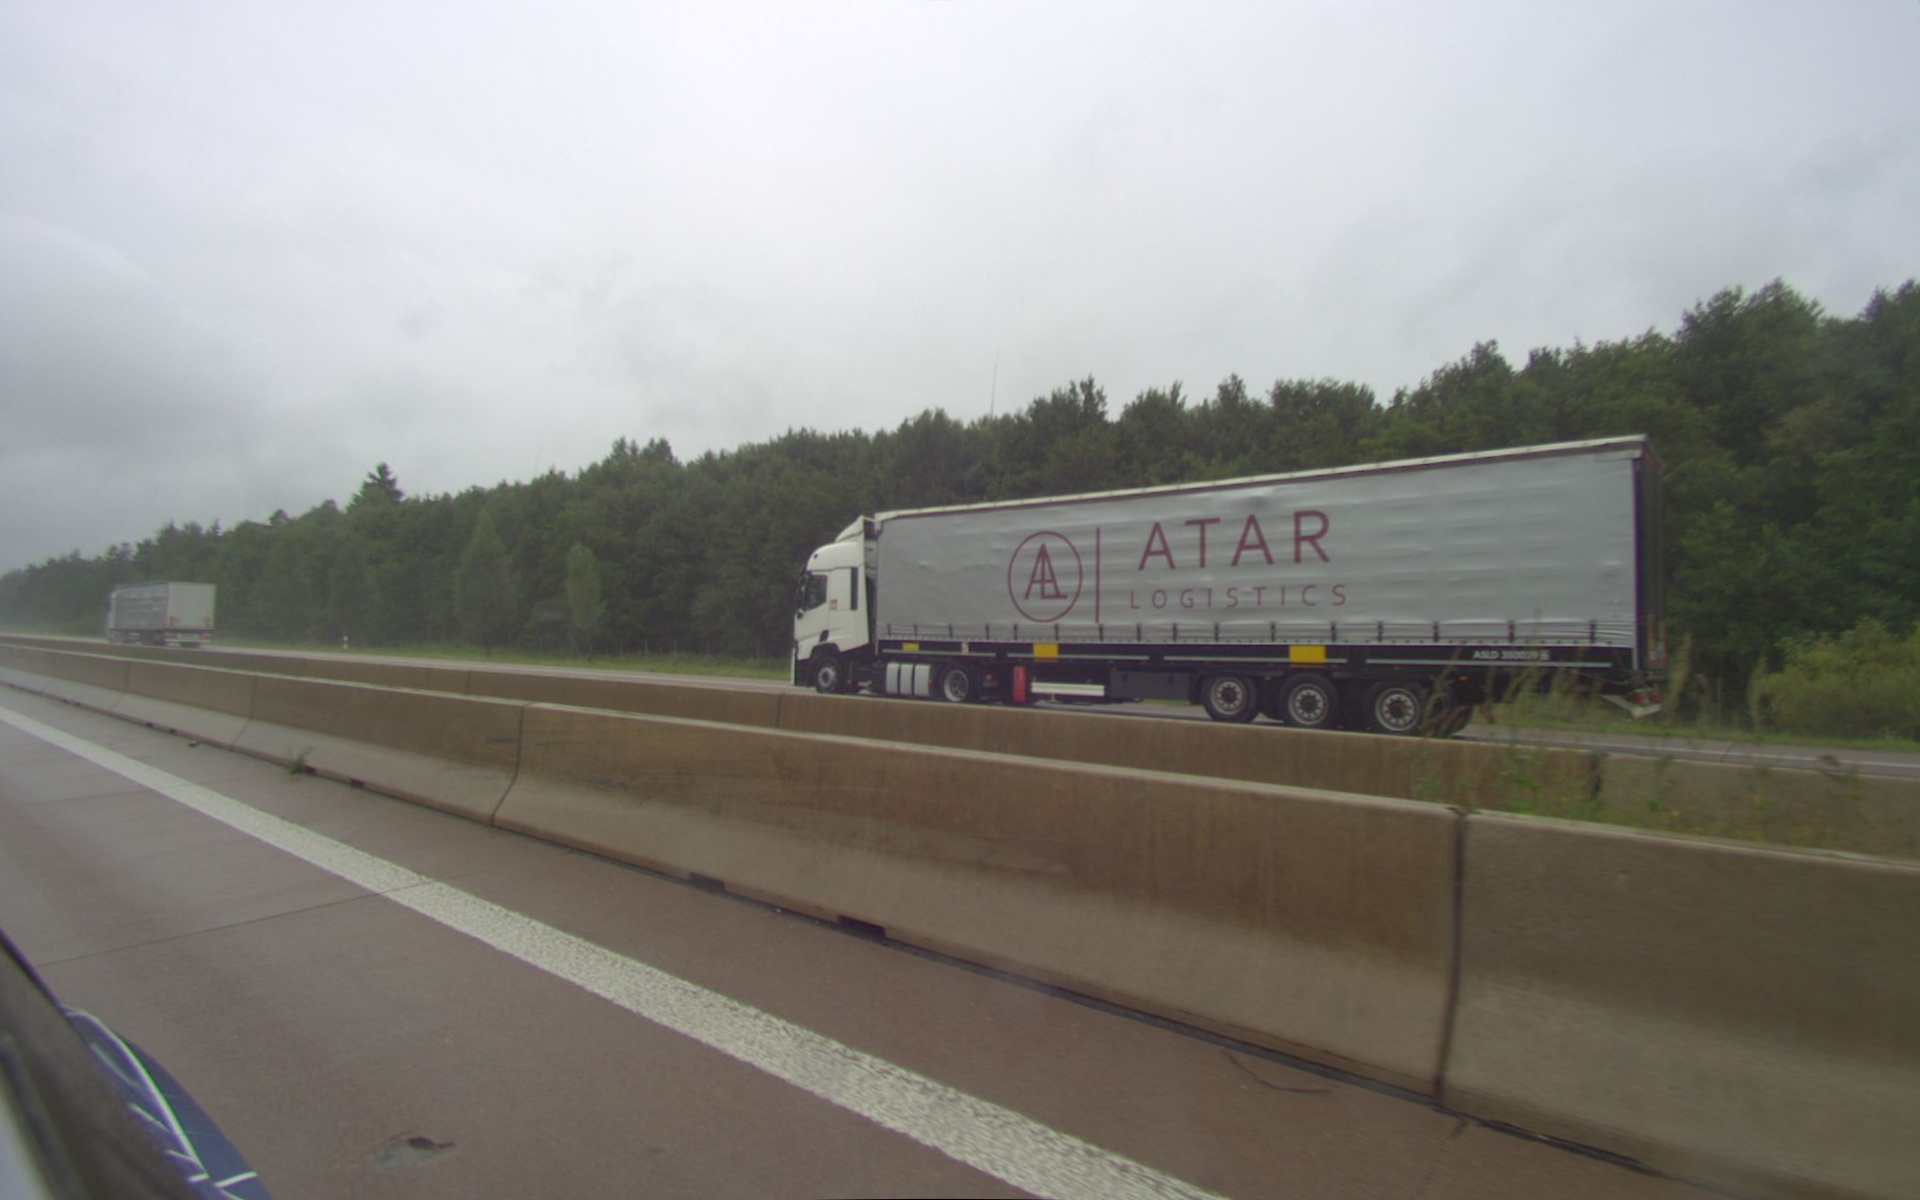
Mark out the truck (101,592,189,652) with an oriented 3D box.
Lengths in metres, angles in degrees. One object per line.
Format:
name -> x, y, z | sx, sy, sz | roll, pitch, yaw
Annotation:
truck -> -56.131, 1.456, 69.640 | 7.459, 3.918, 3.437 | -1, 0, 41

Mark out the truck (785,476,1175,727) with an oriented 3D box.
truck -> 0.182, 0.038, 21.570 | 7.941, 4.393, 3.385 | -1, 0, 40

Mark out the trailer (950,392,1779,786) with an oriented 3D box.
trailer -> 5.639, -0.088, 16.917 | 12.437, 4.499, 3.395 | -1, 0, 41

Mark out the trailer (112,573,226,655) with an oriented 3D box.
trailer -> -51.510, 0.895, 65.680 | 12.436, 4.903, 3.395 | -1, 0, 40
